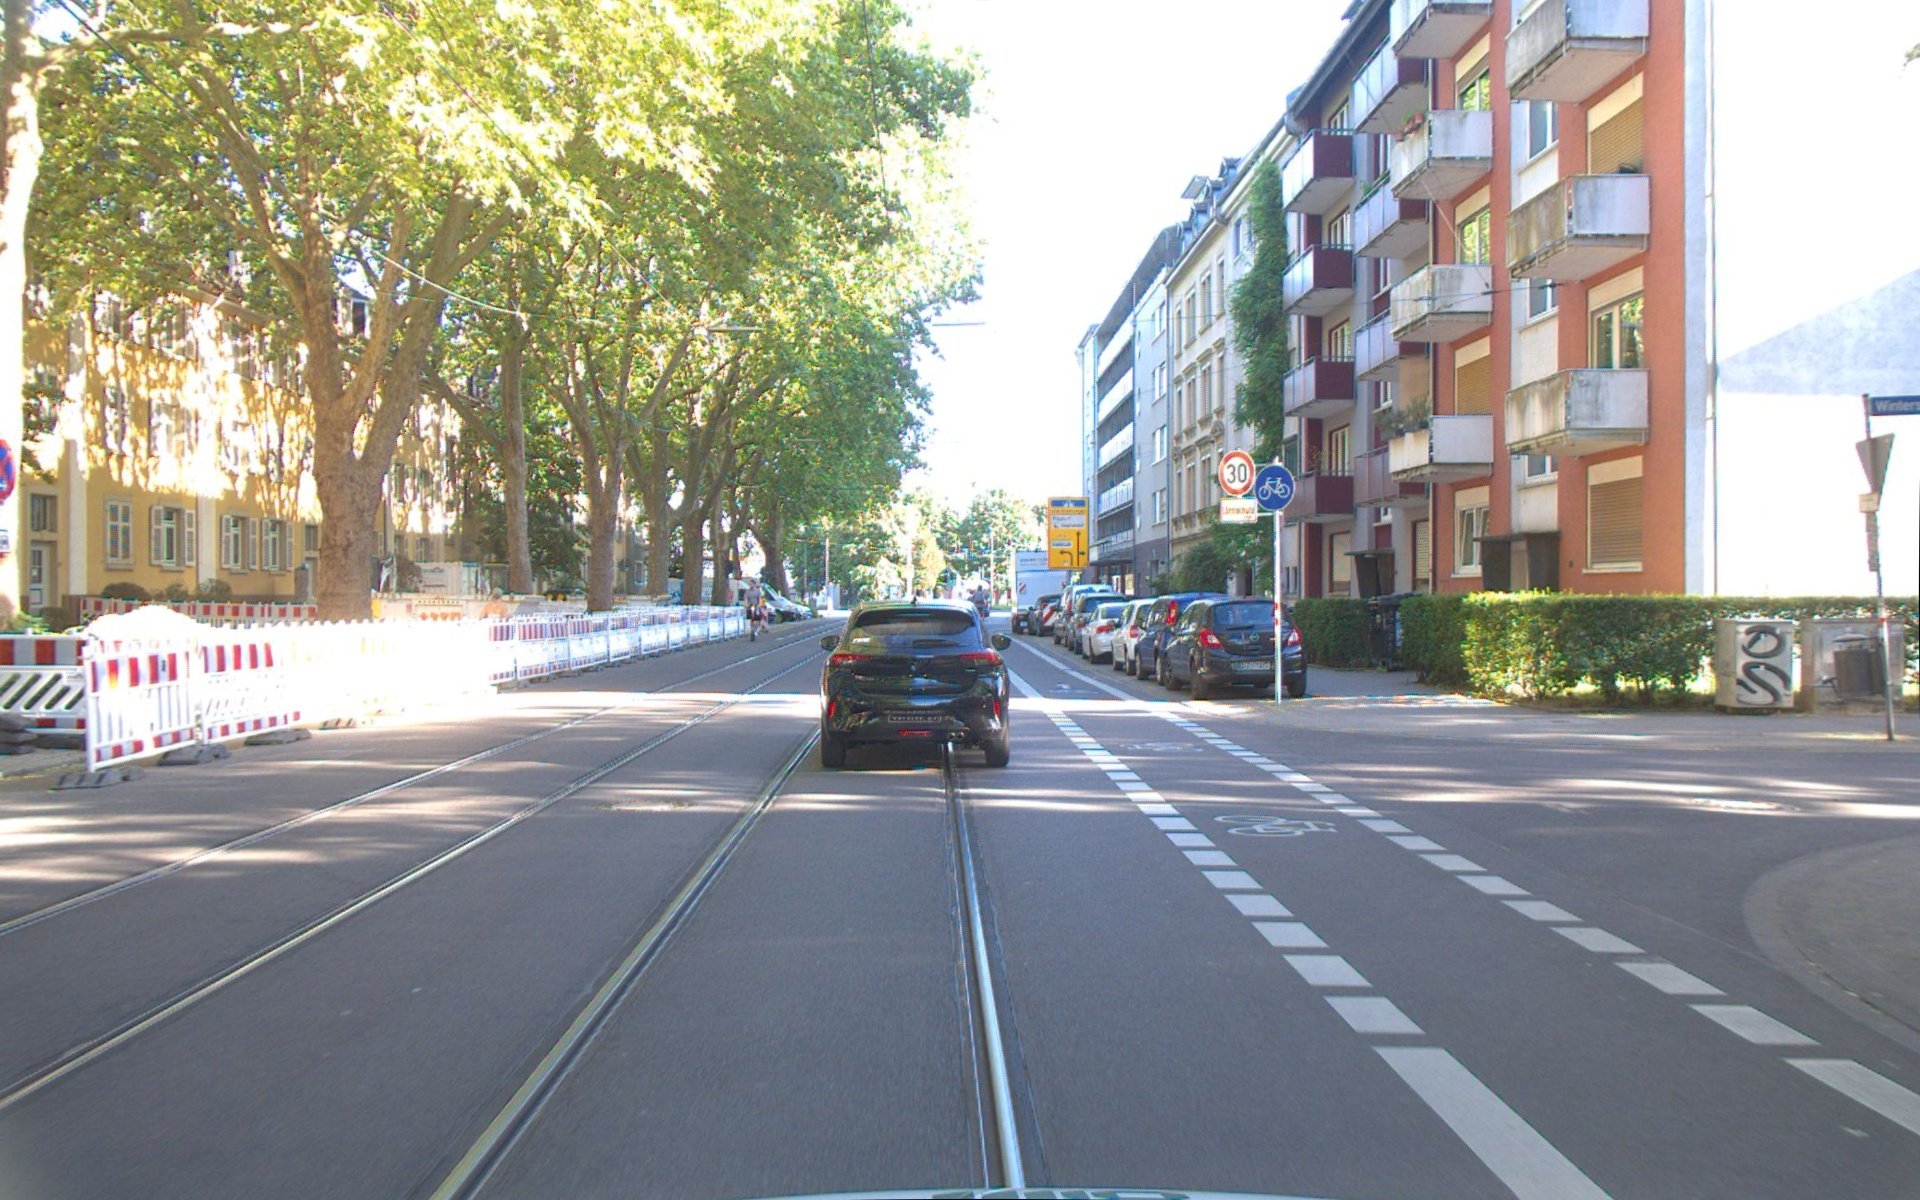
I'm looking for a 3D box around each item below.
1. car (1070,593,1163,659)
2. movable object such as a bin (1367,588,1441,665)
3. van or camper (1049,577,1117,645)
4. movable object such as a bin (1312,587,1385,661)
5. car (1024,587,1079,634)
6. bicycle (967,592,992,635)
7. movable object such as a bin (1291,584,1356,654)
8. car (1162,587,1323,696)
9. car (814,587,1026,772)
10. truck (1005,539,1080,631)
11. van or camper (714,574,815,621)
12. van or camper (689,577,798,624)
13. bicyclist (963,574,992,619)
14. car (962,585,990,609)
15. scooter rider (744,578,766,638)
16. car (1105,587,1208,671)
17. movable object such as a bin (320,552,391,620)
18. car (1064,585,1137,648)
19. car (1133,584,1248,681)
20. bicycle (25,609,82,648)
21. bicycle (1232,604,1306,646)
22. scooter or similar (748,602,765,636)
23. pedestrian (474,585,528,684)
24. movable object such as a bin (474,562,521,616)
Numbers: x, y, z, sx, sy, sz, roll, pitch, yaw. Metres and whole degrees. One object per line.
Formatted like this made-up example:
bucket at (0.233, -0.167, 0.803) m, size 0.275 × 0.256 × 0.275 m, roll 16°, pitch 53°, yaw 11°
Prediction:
car at (3.714, 0.581, 39.876) m, size 1.626 × 1.424 × 4.738 m, roll -2°, pitch 0°, yaw -1°
movable object such as a bin at (8.034, 0.476, 29.951) m, size 1.129 × 1.350 × 0.775 m, roll 1°, pitch 0°, yaw -1°
van or camper at (3.650, 0.292, 49.552) m, size 1.635 × 1.915 × 4.210 m, roll -2°, pitch 0°, yaw -1°
movable object such as a bin at (7.320, 0.446, 31.269) m, size 0.947 × 1.350 × 1.721 m, roll 1°, pitch 0°, yaw -1°
car at (3.344, 0.356, 60.916) m, size 1.695 × 1.584 × 4.151 m, roll -3°, pitch 0°, yaw -1°
bicycle at (0.752, 0.483, 62.692) m, size 0.897 × 1.588 × 3.405 m, roll 0°, pitch 0°, yaw 1°
movable object such as a bin at (7.245, 0.379, 33.064) m, size 0.905 × 1.350 × 1.681 m, roll 1°, pitch 0°, yaw -1°
car at (4.283, 0.574, 25.612) m, size 1.698 × 1.487 × 3.915 m, roll -2°, pitch 0°, yaw -1°
car at (-0.377, 0.646, 15.669) m, size 1.745 × 1.522 × 3.999 m, roll 0°, pitch 0°, yaw -1°
truck at (3.258, -0.597, 66.879) m, size 2.487 × 3.396 × 7.194 m, roll -3°, pitch 0°, yaw -1°
van or camper at (-11.412, -0.150, 96.947) m, size 5.607 × 2.690 × 2.269 m, roll 1°, pitch 0°, yaw -1°
van or camper at (-11.429, 0.023, 87.593) m, size 5.387 × 2.421 × 2.270 m, roll 1°, pitch 0°, yaw 2°
bicyclist at (0.670, -0.151, 62.665) m, size 1.067 × 1.676 × 1.401 m, roll 0°, pitch 0°, yaw 1°
car at (1.200, -0.211, 126.117) m, size 1.953 × 1.725 × 4.738 m, roll -2°, pitch 0°, yaw -1°
scooter rider at (-6.857, 0.270, 55.292) m, size 0.636 × 1.991 × 0.624 m, roll 1°, pitch 0°, yaw -1°
car at (3.964, 0.564, 33.798) m, size 1.559 × 1.553 × 3.834 m, roll -2°, pitch 0°, yaw -1°
movable object such as a bin at (-17.475, -0.394, 47.878) m, size 1.306 × 1.901 × 2.007 m, roll 1°, pitch 0°, yaw -1°
car at (3.759, 0.412, 44.723) m, size 1.626 × 1.608 × 3.588 m, roll -2°, pitch 0°, yaw -1°
car at (4.069, 0.545, 29.675) m, size 1.495 × 1.618 × 3.751 m, roll 1°, pitch 0°, yaw -1°
bicycle at (-20.577, 0.635, 37.560) m, size 0.496 × 0.833 × 1.642 m, roll 0°, pitch 0°, yaw -5°
bicycle at (8.201, 0.659, 43.962) m, size 1.854 × 1.047 × 0.476 m, roll -2°, pitch 0°, yaw 4°
scooter or similar at (-6.803, 0.631, 55.347) m, size 0.399 × 1.102 × 1.338 m, roll 1°, pitch 0°, yaw -1°
pedestrian at (-8.039, 0.597, 29.002) m, size 0.702 × 1.698 × 0.778 m, roll 1°, pitch 0°, yaw -1°
movable object such as a bin at (-14.620, -0.350, 52.321) m, size 1.075 × 1.674 × 1.559 m, roll 1°, pitch 0°, yaw -1°
